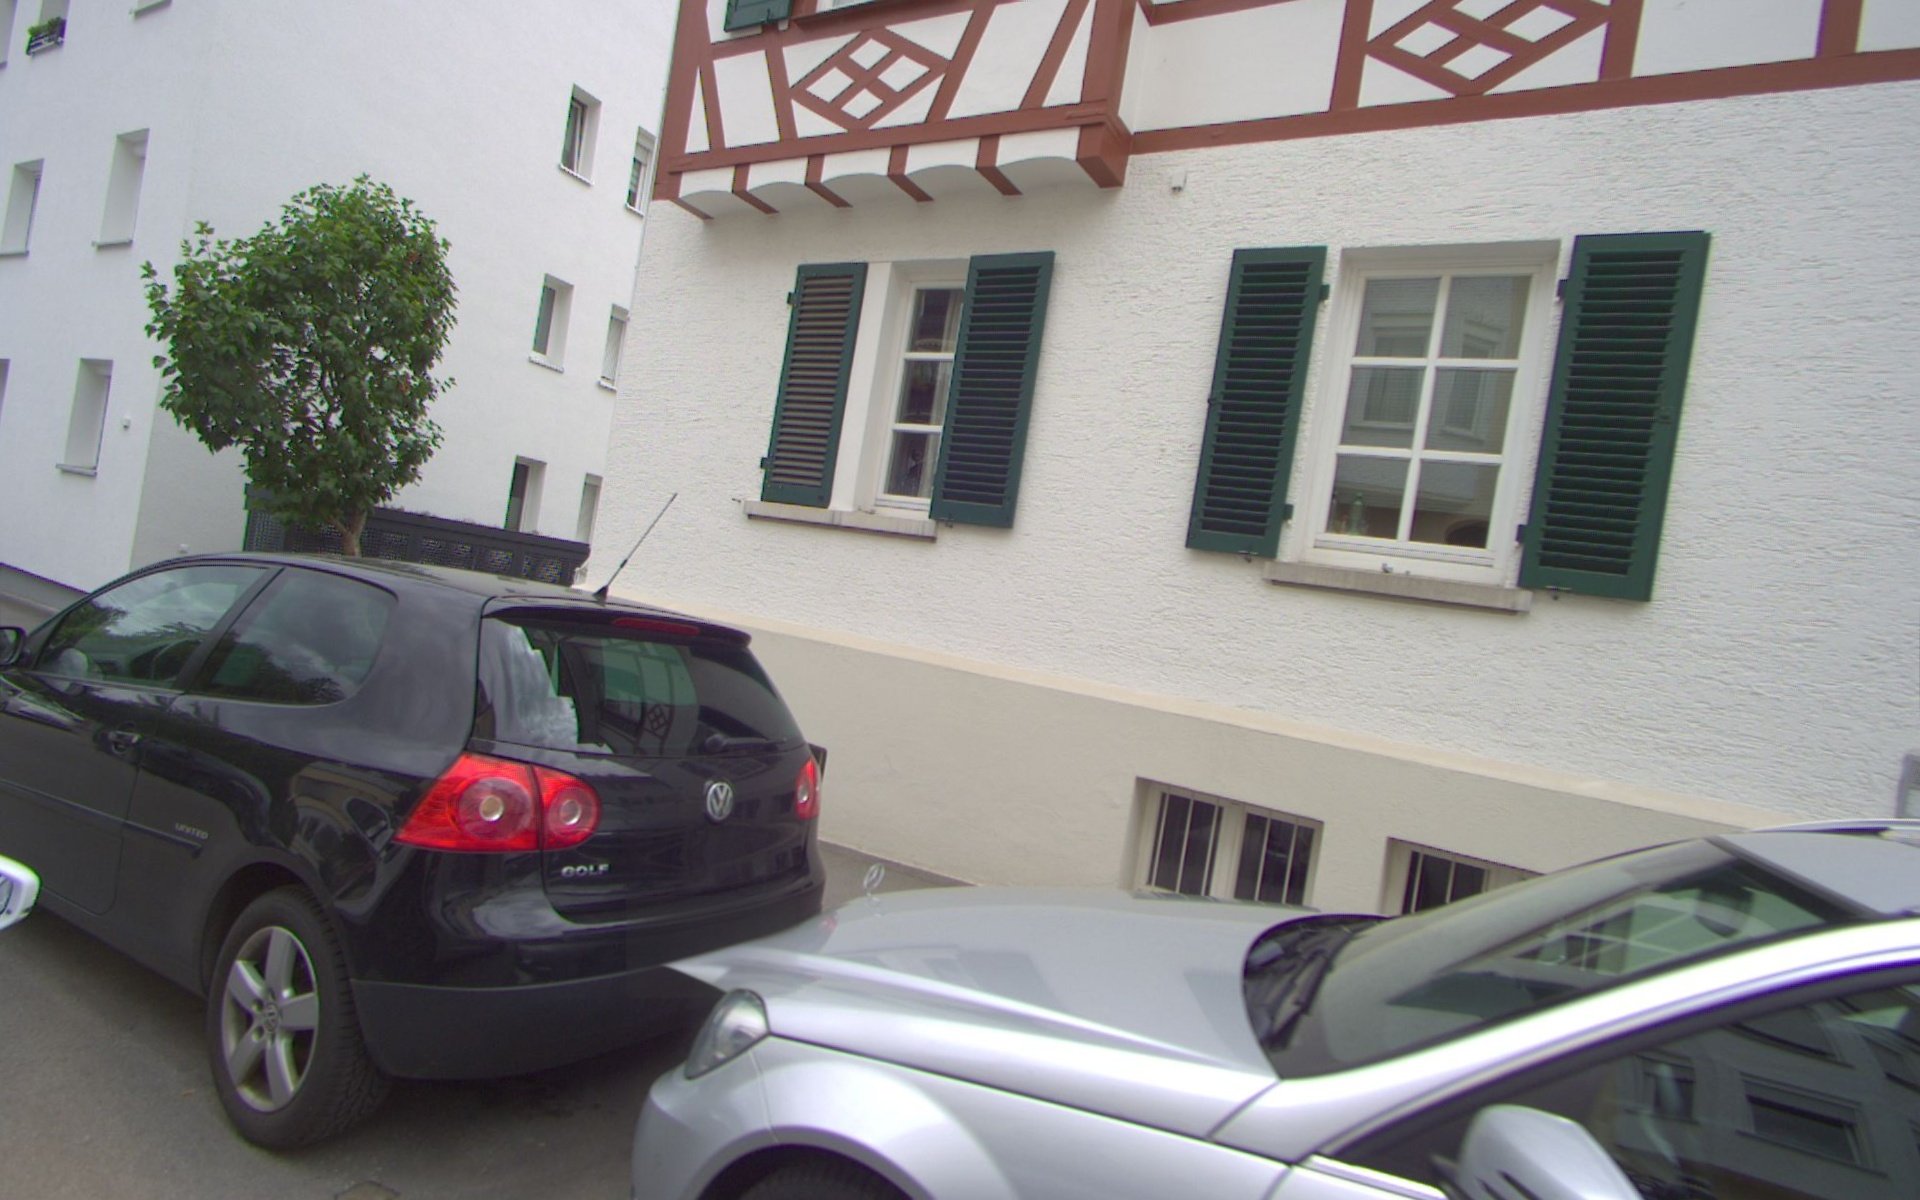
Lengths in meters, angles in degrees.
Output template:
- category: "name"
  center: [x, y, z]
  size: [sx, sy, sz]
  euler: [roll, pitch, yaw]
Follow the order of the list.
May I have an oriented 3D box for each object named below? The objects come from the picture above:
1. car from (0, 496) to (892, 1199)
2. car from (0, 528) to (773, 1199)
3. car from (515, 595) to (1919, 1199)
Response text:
- category: "car"
  center: [-2.428, 0.556, 3.832]
  size: [3.955, 1.506, 1.609]
  euler: [7, -2, 30]
- category: "car"
  center: [-2.980, 0.822, 4.061]
  size: [3.931, 1.740, 1.781]
  euler: [10, -1, 29]
- category: "car"
  center: [1.408, 1.022, 1.587]
  size: [4.163, 1.408, 1.630]
  euler: [8, -2, 29]
